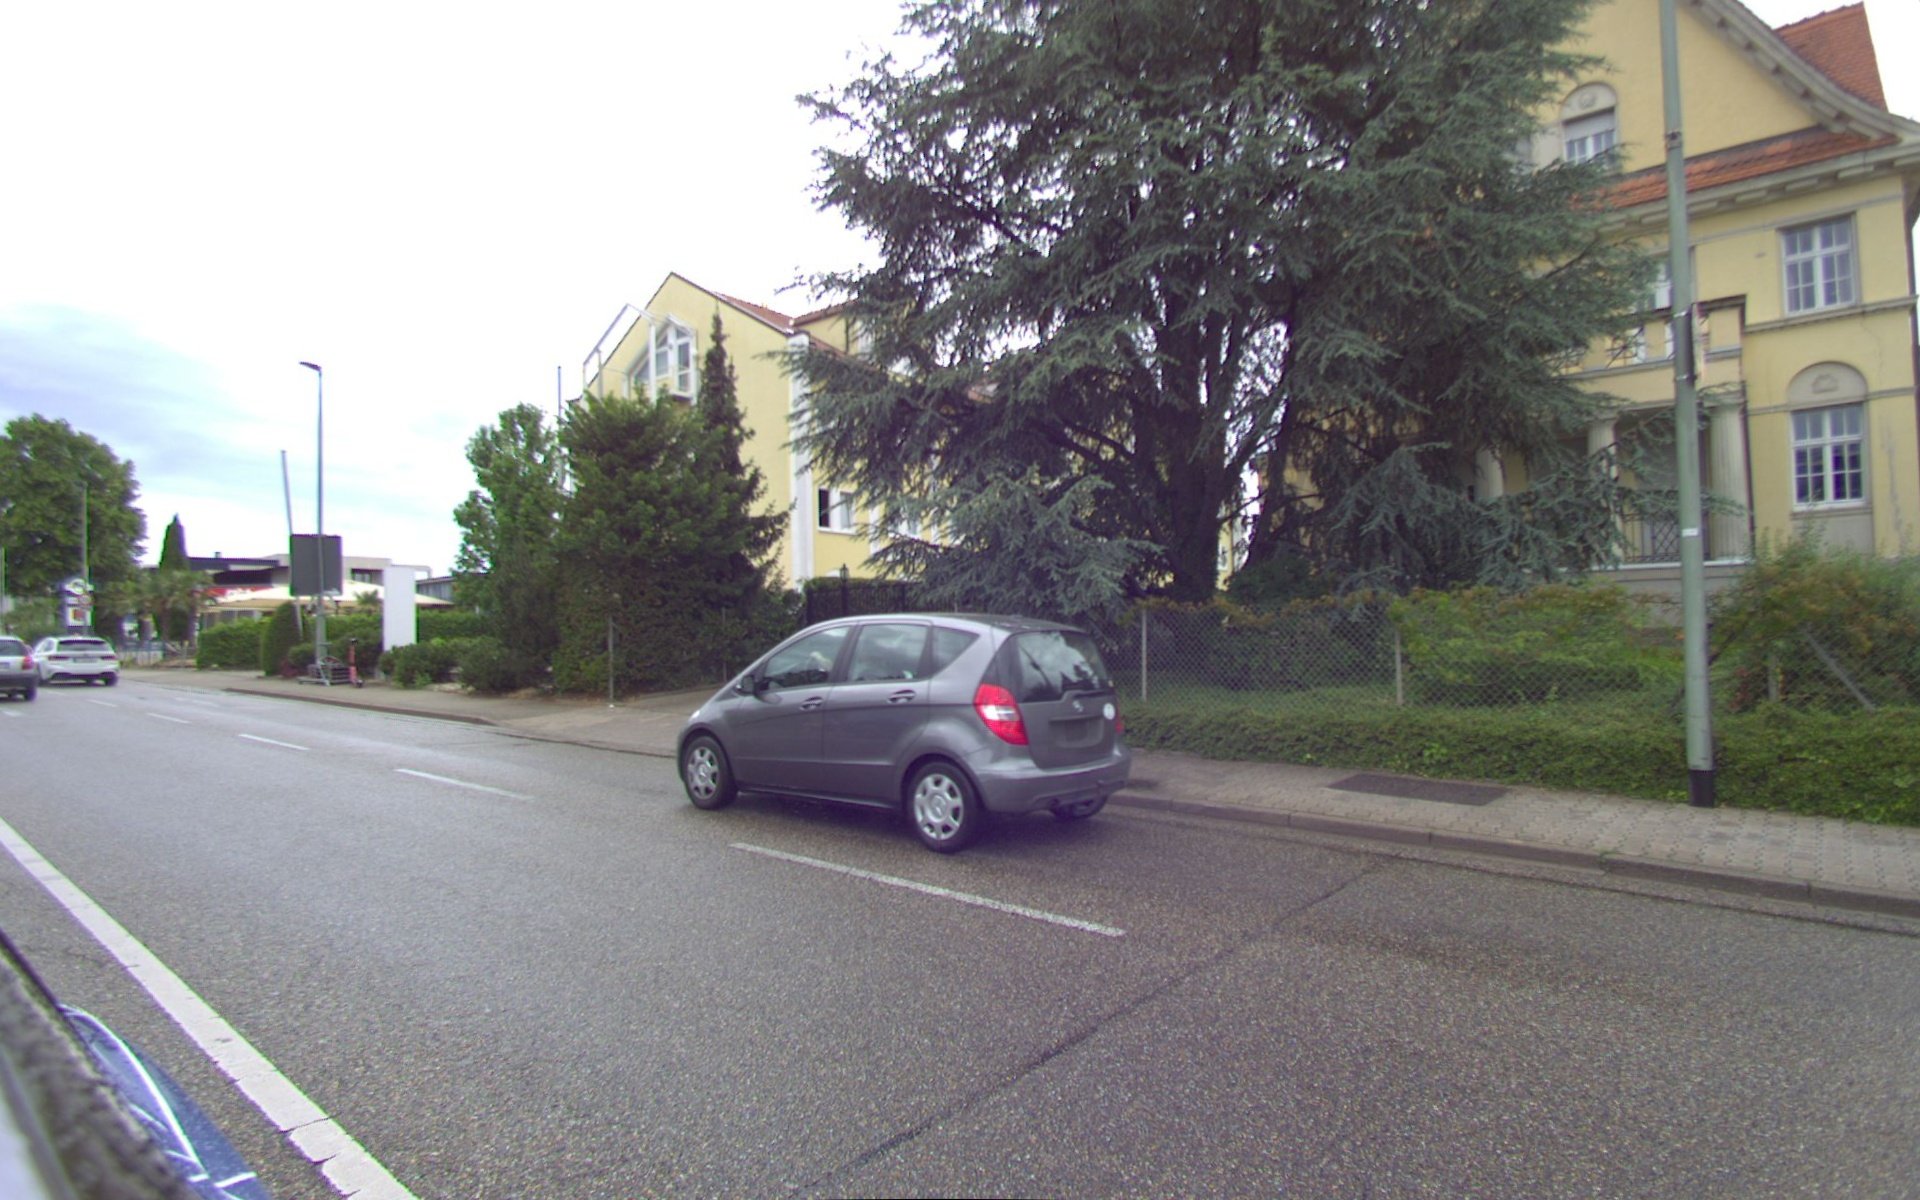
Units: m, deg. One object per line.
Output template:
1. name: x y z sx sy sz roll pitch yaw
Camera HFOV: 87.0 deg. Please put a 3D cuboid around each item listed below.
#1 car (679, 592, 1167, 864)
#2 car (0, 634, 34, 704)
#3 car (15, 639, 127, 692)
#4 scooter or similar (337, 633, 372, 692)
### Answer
1. car: -0.406 0.835 7.813 3.546 1.611 1.682 -2 -3 39
2. car: -21.986 1.505 22.525 3.516 1.471 1.622 -1 -2 41
3. car: -26.650 1.915 30.288 4.427 1.471 1.768 -2 -2 39
4. scooter or similar: -15.166 1.530 25.335 0.498 1.416 1.884 1 -2 -39
